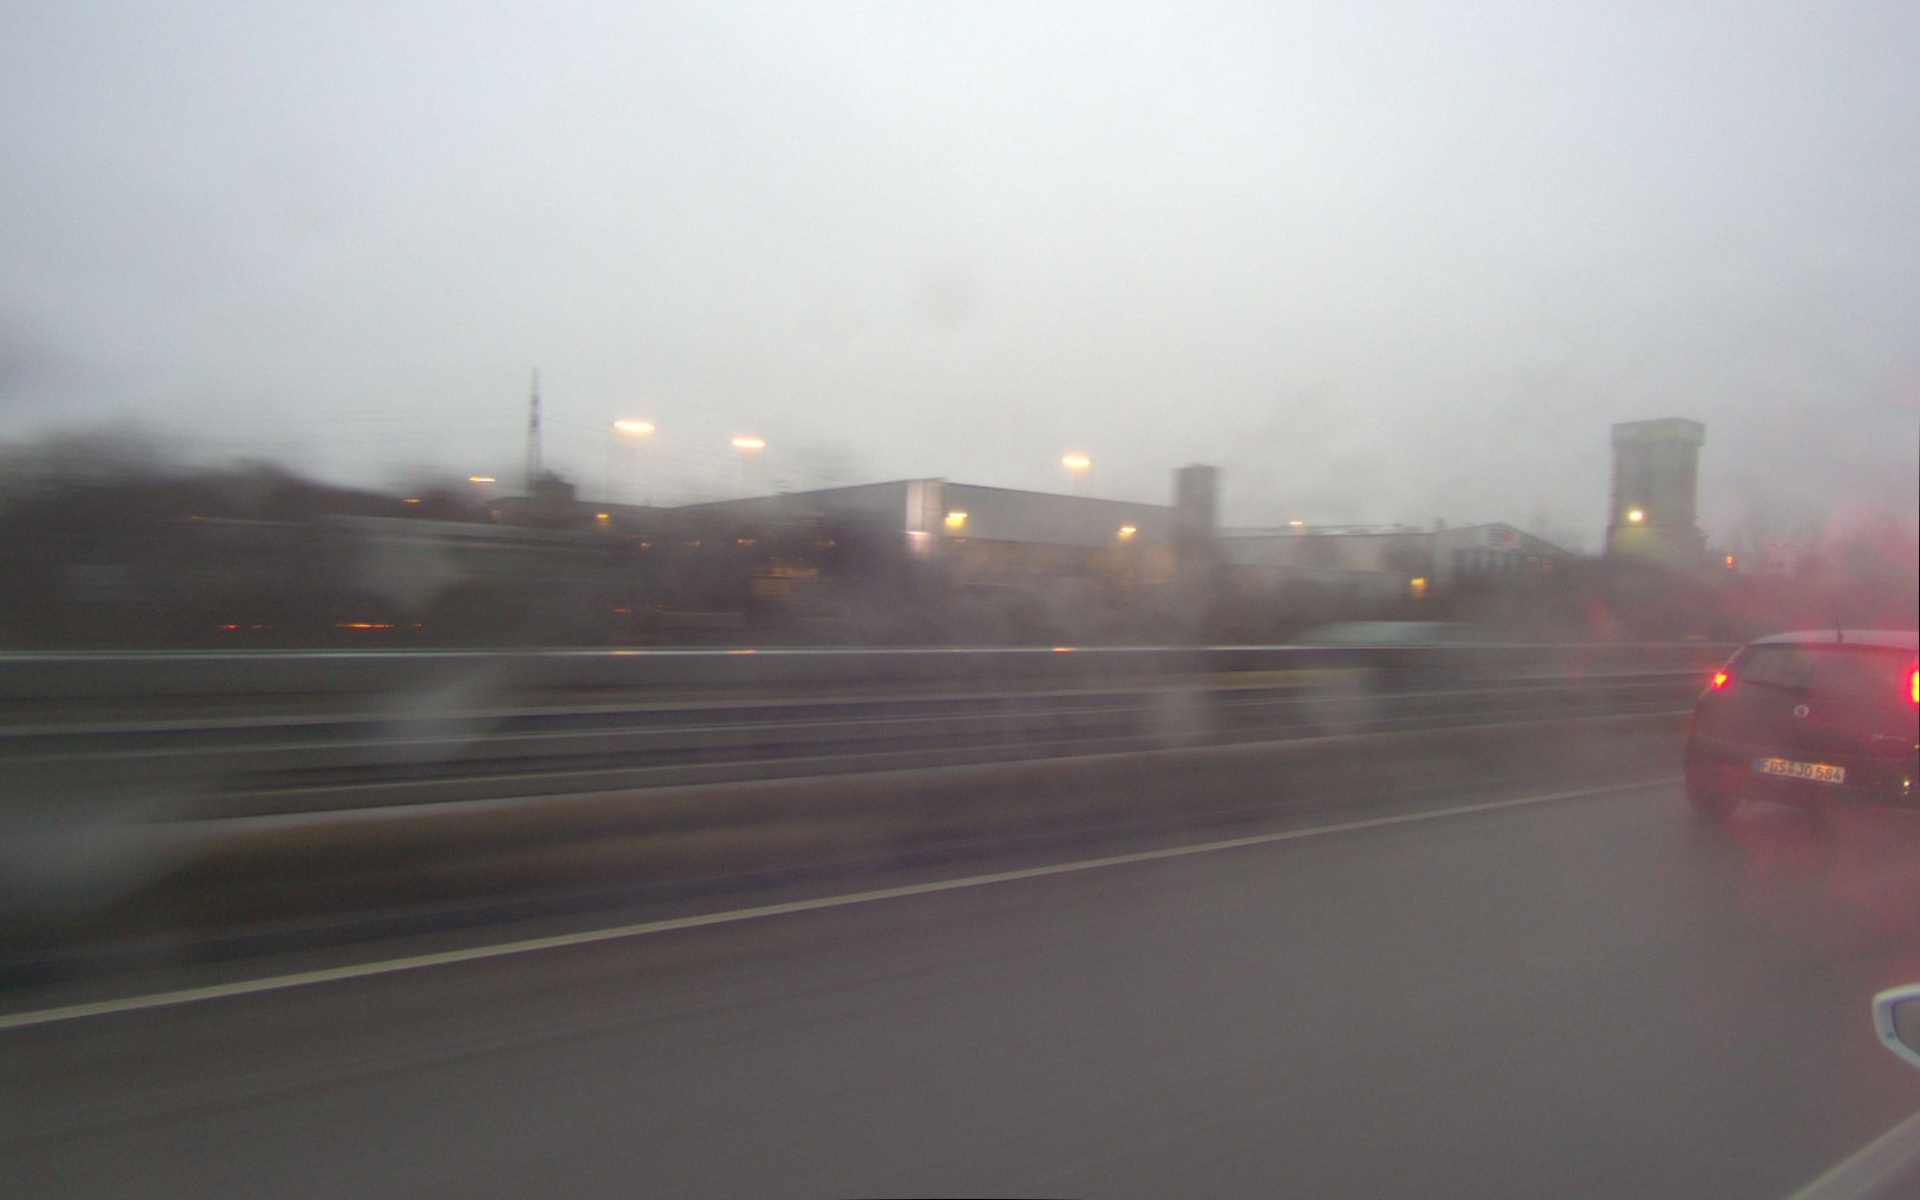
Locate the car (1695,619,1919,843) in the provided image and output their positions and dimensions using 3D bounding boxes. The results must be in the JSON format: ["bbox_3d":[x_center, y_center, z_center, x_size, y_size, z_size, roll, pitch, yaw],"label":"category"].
[{"bbox_3d":[7.737,0.925,8.011,3.955,1.410,1.617,2,1,-31],"label":"car"}]

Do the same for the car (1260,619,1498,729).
[{"bbox_3d":[7.183,1.188,17.153,3.953,1.661,1.732,1,-1,-30],"label":"car"}]
